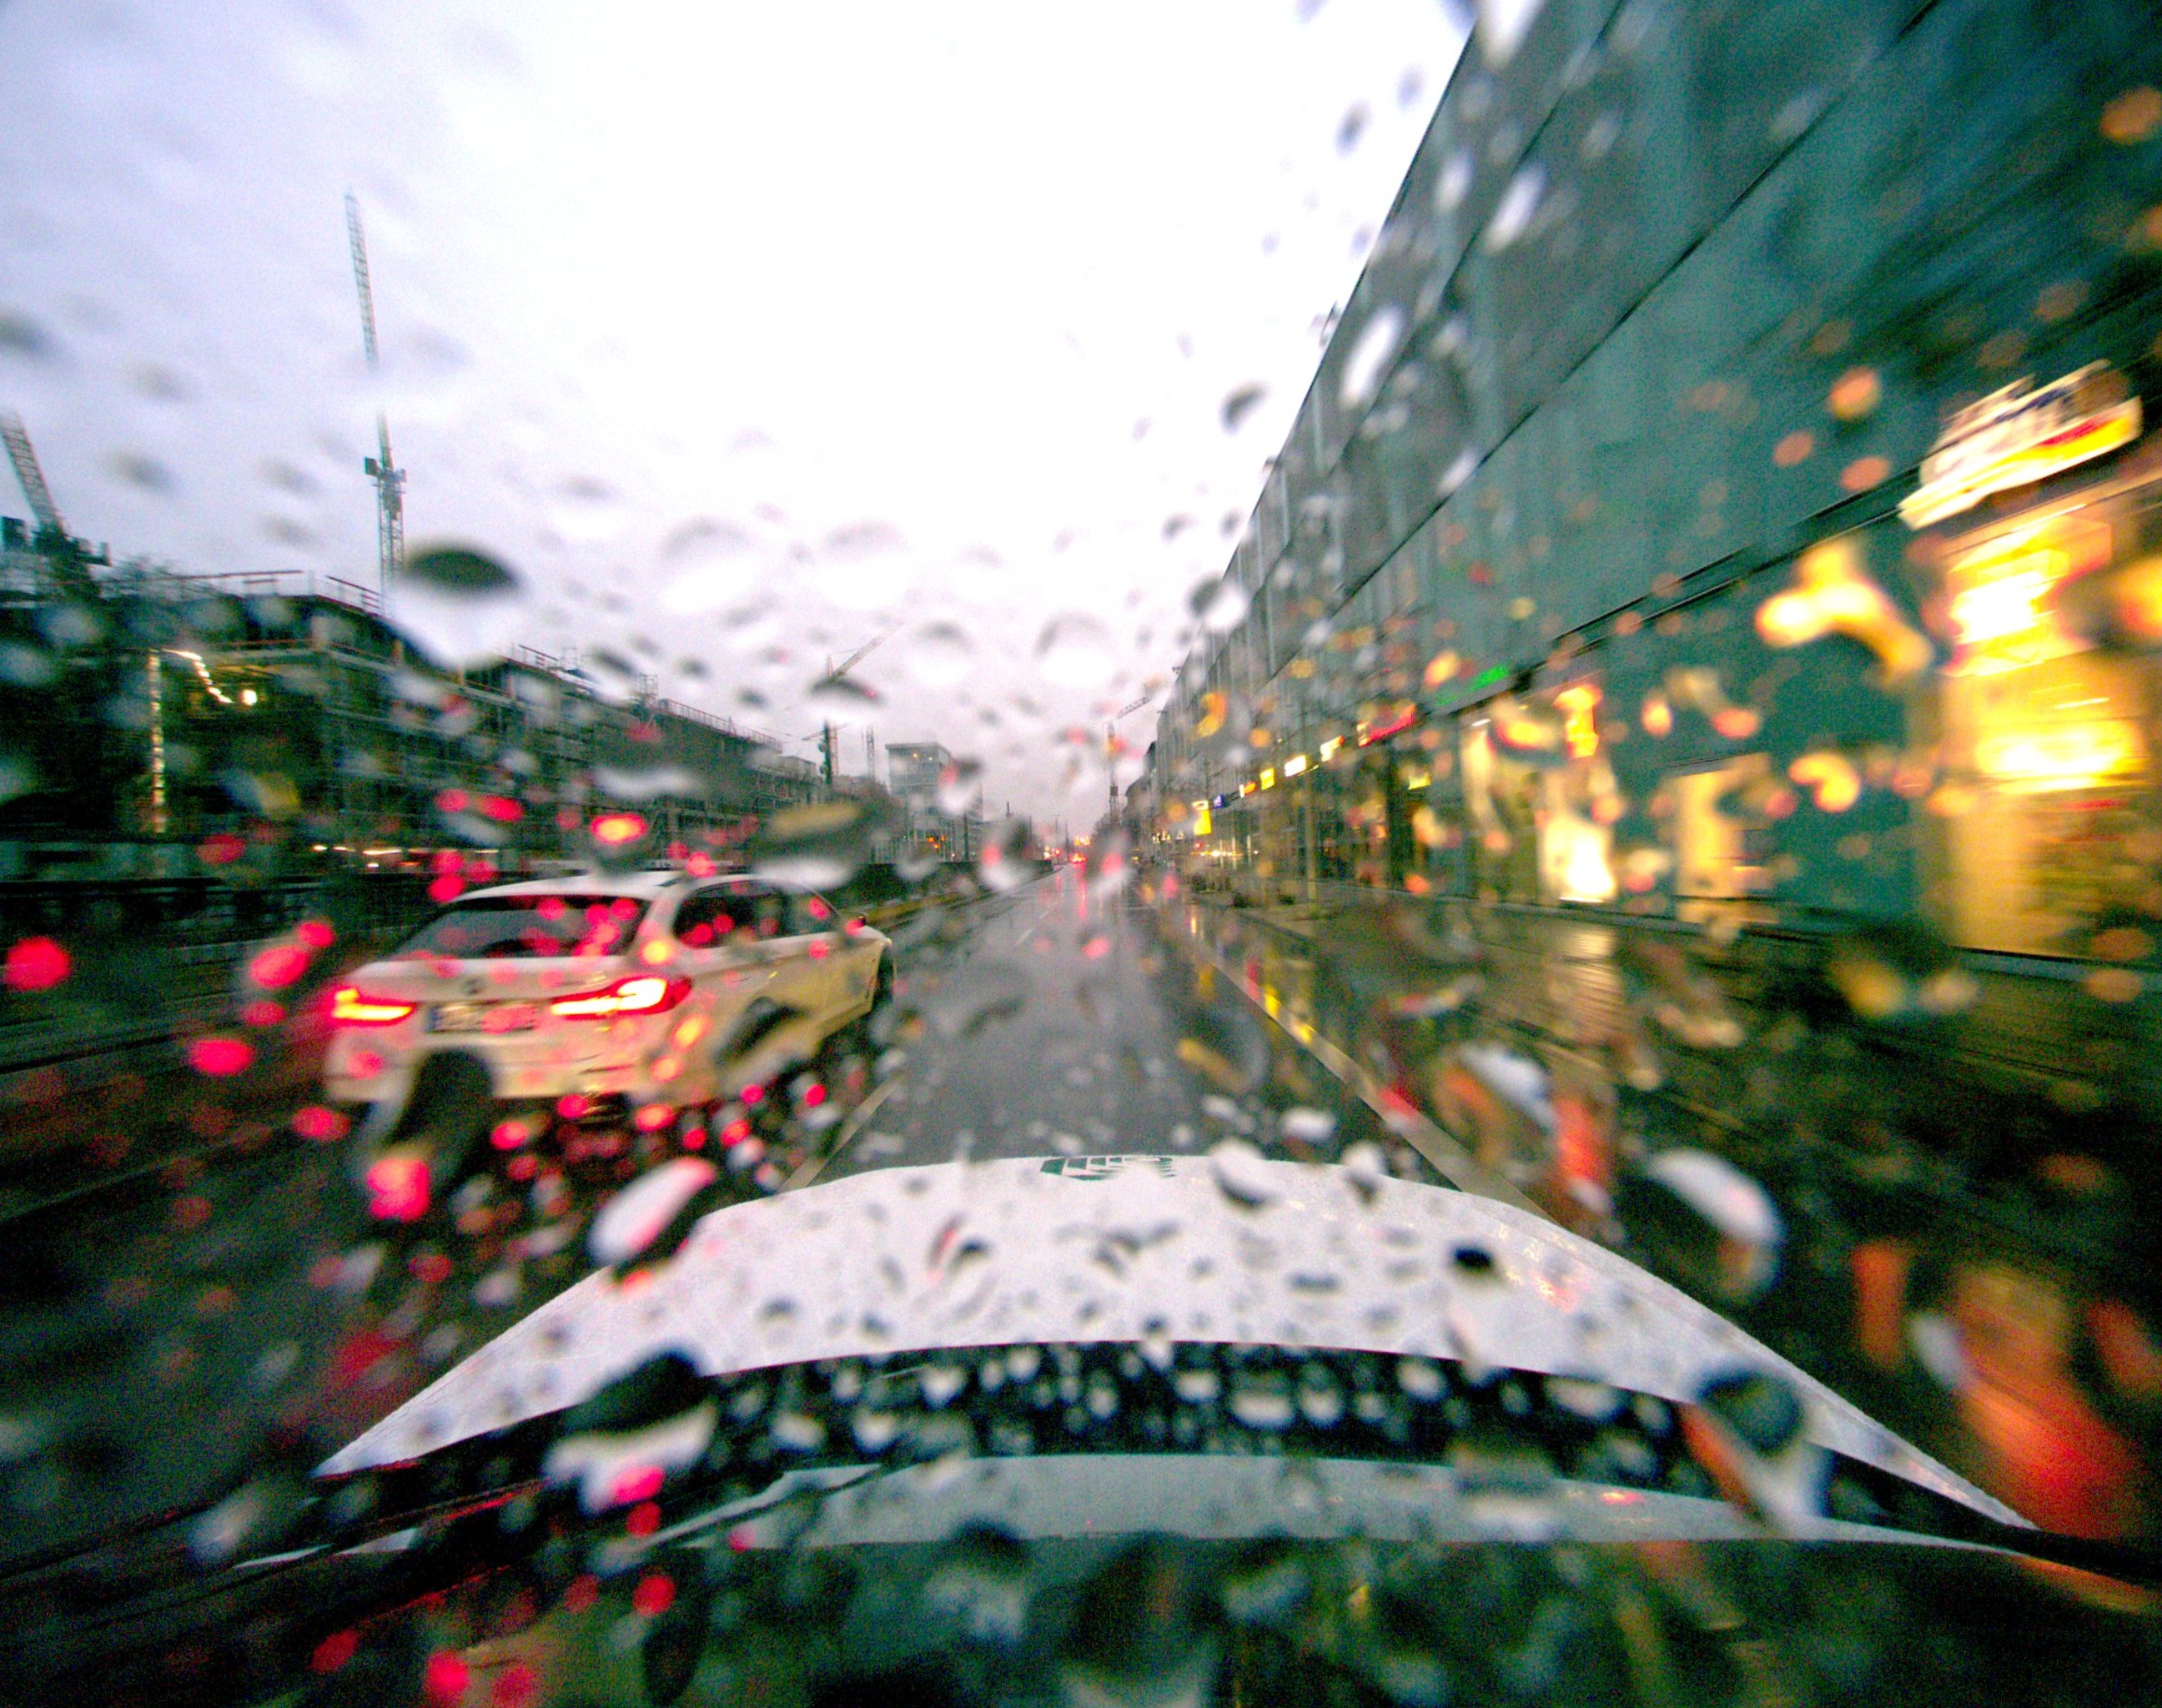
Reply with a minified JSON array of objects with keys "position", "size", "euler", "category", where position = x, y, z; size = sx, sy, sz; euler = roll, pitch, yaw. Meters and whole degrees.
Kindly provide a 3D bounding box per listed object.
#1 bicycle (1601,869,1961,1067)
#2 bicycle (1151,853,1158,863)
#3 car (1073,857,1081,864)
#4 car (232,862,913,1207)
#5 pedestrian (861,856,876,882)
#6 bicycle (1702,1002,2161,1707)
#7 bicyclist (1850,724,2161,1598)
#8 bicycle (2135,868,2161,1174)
[{"position":[4.853,0.761,5.730],"size":[1.897,1.175,0.667],"euler":[-4,0,0],"category":"bicycle"},{"position":[9.568,0.559,105.880],"size":[0.680,1.222,1.905],"euler":[-5,-1,0],"category":"bicycle"},{"position":[-0.912,1.559,194.912],"size":[1.894,1.642,4.001],"euler":[-2,0,1],"category":"car"},{"position":[-2.793,0.830,6.112],"size":[1.845,1.465,4.948],"euler":[-2,0,2],"category":"car"},{"position":[-13.081,0.919,50.100],"size":[0.580,1.550,0.742],"euler":[-2,-1,11],"category":"pedestrian"},{"position":[2.295,0.959,1.376],"size":[0.938,0.999,2.244],"euler":[-2,0,6],"category":"bicycle"},{"position":[2.267,0.505,1.365],"size":[0.938,1.463,1.068],"euler":[-2,0,6],"category":"bicyclist"},{"position":[5.076,0.683,2.895],"size":[0.670,1.261,1.541],"euler":[-2,0,-42],"category":"bicycle"}]
